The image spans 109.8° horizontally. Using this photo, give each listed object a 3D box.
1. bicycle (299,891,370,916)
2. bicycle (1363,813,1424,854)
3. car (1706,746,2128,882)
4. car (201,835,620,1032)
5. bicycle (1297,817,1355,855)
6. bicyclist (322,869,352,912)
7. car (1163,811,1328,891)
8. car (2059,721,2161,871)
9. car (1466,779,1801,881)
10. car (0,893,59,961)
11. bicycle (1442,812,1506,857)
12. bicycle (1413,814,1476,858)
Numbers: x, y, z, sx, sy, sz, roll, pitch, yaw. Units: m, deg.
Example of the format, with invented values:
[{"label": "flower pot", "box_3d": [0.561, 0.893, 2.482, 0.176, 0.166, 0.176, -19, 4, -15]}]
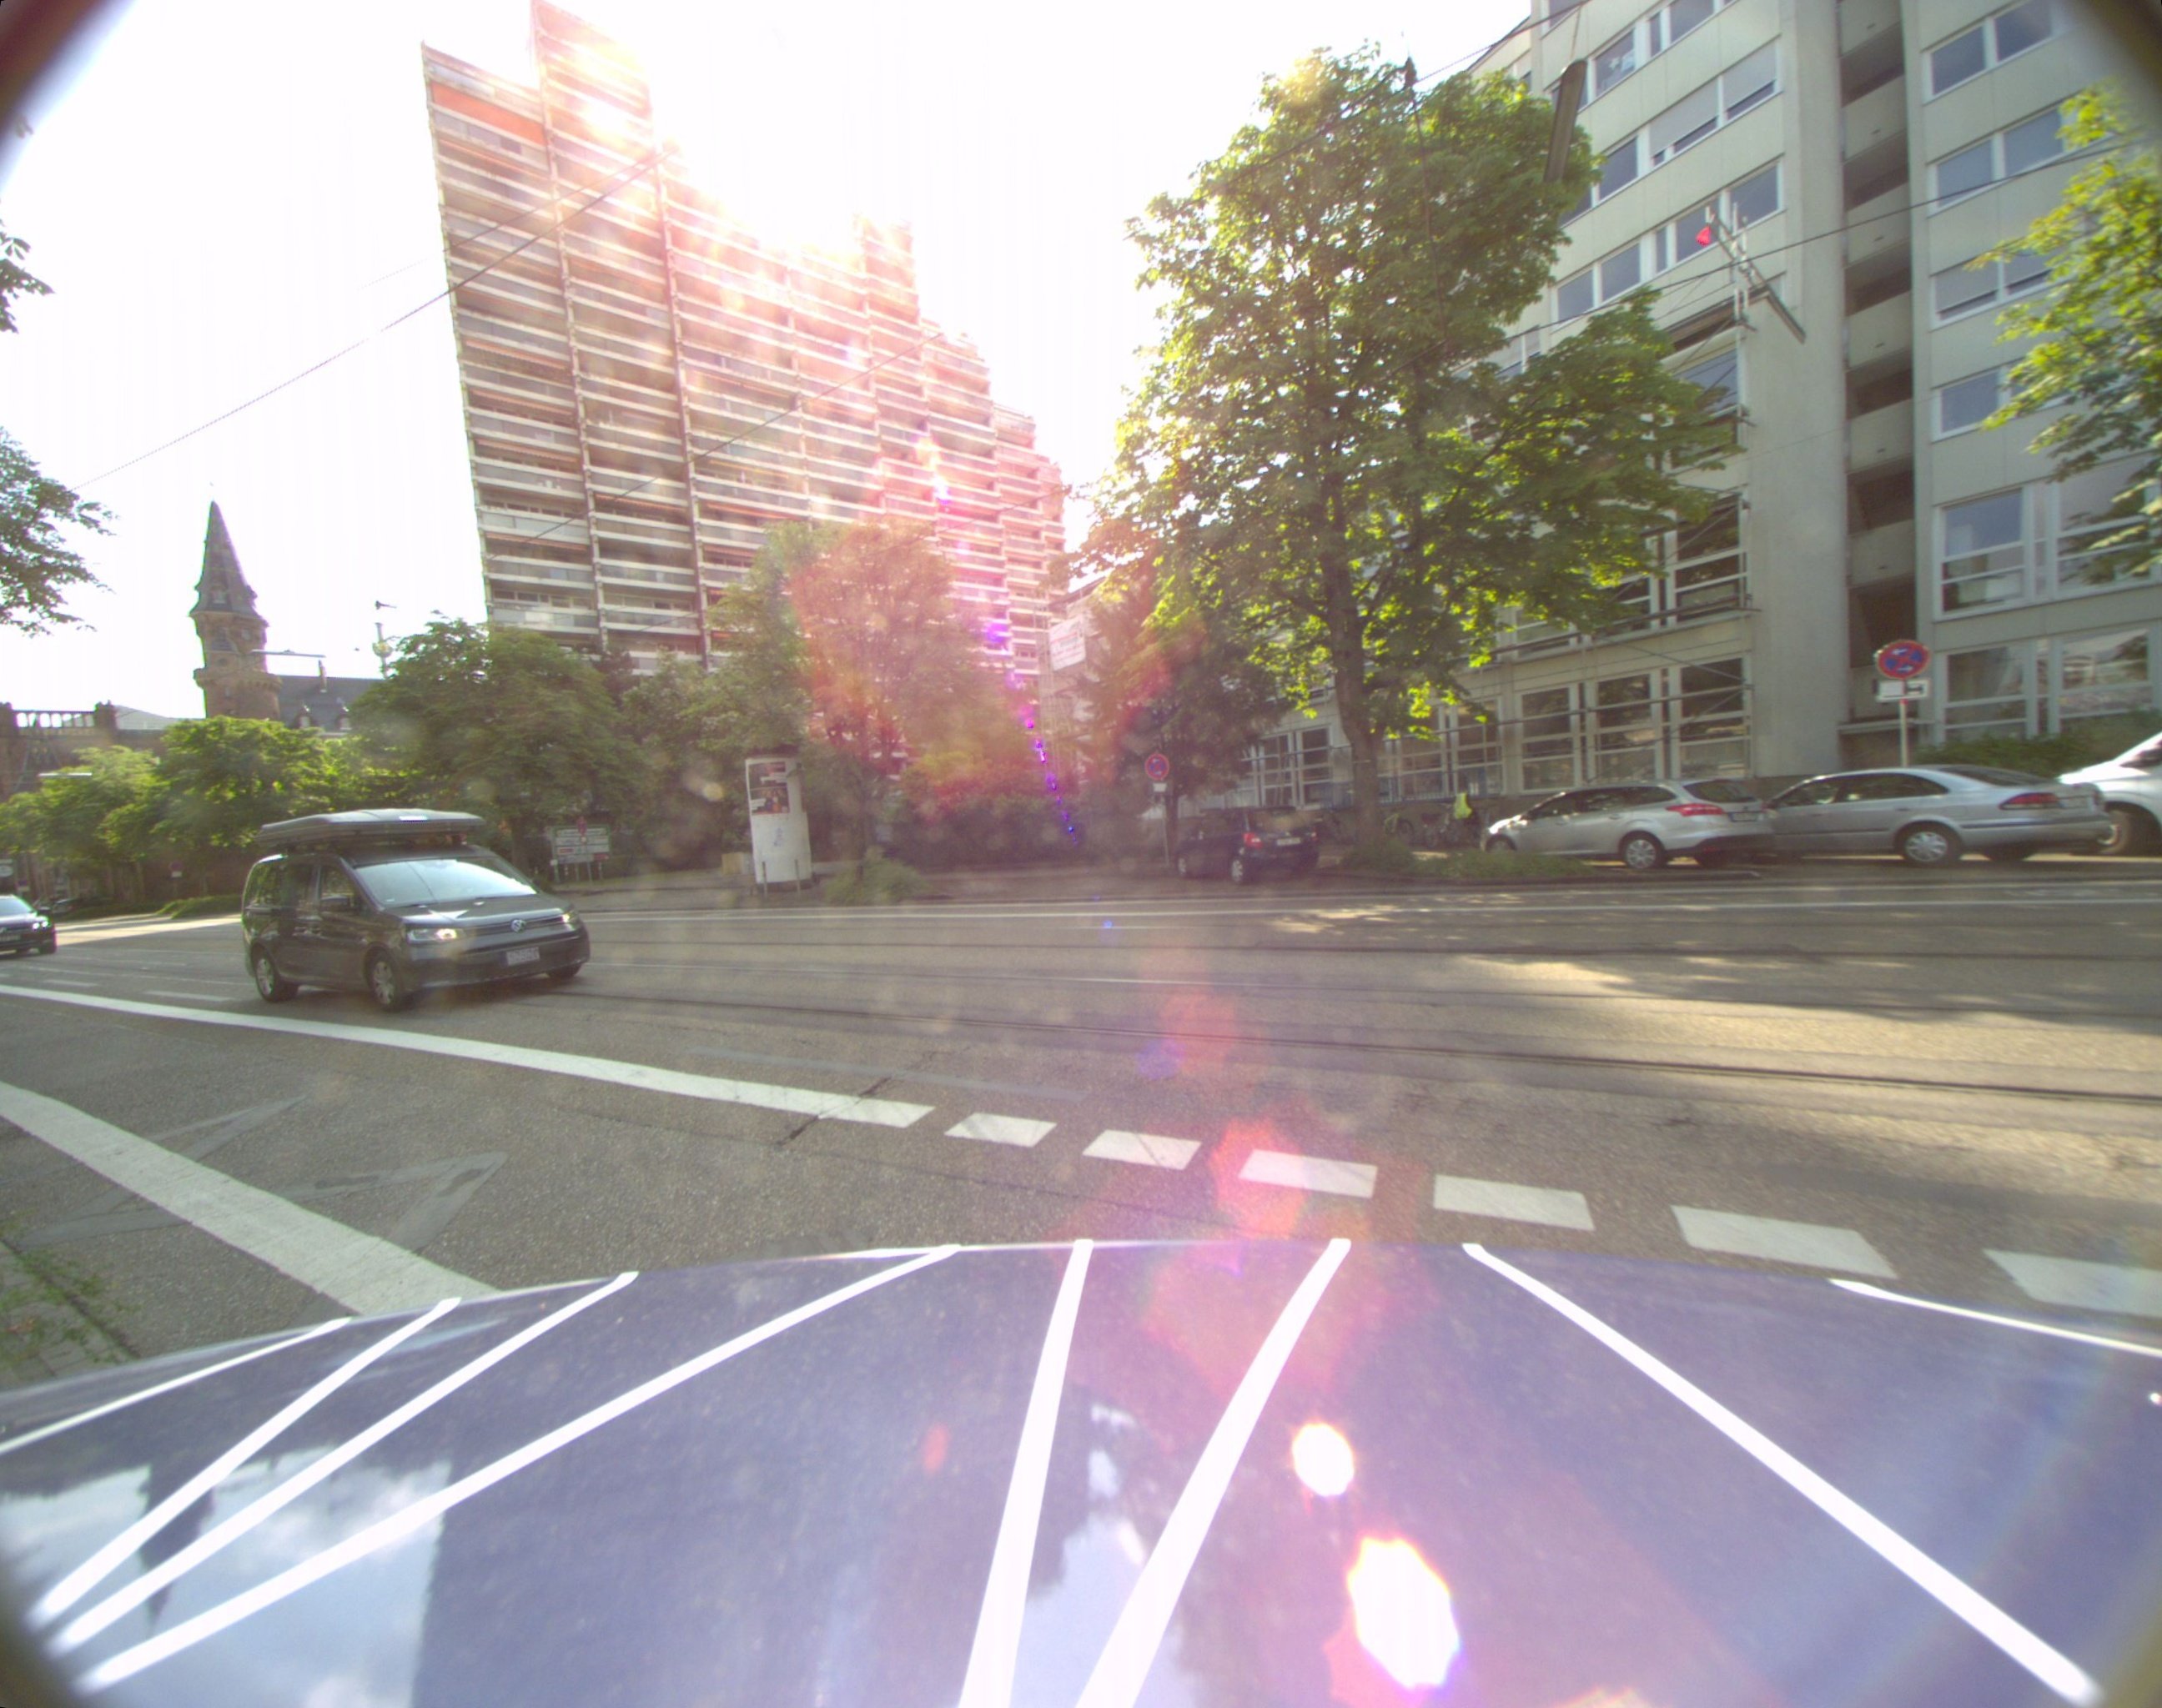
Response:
[{"label": "bicycle", "box_3d": [-30.629, 2.030, 31.201, 1.987, 0.974, 0.567, 1, -2, -34]}, {"label": "bicycle", "box_3d": [8.879, -0.564, 21.534, 2.060, 1.080, 0.496, 1, -1, -33]}, {"label": "car", "box_3d": [11.953, -0.416, 11.274, 1.727, 1.465, 3.781, 2, -5, -15]}, {"label": "car", "box_3d": [-8.035, 0.838, 9.046, 4.825, 1.764, 1.949, -3, 3, 27]}, {"label": "bicycle", "box_3d": [7.462, -0.519, 23.118, 2.060, 1.080, 0.496, 1, -1, -33]}, {"label": "bicyclist", "box_3d": [-30.576, 1.494, 31.246, 0.727, 1.729, 0.780, 1, -1, -34]}, {"label": "car", "box_3d": [3.260, 0.002, 15.902, 1.761, 1.453, 3.996, 0, -2, -15]}, {"label": "car", "box_3d": [14.992, -0.782, 8.459, 1.933, 1.901, 4.636, -3, 1, -13]}, {"label": "car", "box_3d": [9.088, -0.270, 13.044, 1.742, 1.417, 4.455, 1, -2, -19]}, {"label": "car", "box_3d": [-28.852, 1.948, 19.900, 3.961, 1.603, 1.681, -2, 4, 27]}, {"label": "bicycle", "box_3d": [10.114, -0.472, 19.540, 2.060, 1.080, 0.496, 1, -1, -33]}, {"label": "bicycle", "box_3d": [9.670, -0.449, 20.188, 2.060, 1.080, 0.496, 1, -1, -33]}]
